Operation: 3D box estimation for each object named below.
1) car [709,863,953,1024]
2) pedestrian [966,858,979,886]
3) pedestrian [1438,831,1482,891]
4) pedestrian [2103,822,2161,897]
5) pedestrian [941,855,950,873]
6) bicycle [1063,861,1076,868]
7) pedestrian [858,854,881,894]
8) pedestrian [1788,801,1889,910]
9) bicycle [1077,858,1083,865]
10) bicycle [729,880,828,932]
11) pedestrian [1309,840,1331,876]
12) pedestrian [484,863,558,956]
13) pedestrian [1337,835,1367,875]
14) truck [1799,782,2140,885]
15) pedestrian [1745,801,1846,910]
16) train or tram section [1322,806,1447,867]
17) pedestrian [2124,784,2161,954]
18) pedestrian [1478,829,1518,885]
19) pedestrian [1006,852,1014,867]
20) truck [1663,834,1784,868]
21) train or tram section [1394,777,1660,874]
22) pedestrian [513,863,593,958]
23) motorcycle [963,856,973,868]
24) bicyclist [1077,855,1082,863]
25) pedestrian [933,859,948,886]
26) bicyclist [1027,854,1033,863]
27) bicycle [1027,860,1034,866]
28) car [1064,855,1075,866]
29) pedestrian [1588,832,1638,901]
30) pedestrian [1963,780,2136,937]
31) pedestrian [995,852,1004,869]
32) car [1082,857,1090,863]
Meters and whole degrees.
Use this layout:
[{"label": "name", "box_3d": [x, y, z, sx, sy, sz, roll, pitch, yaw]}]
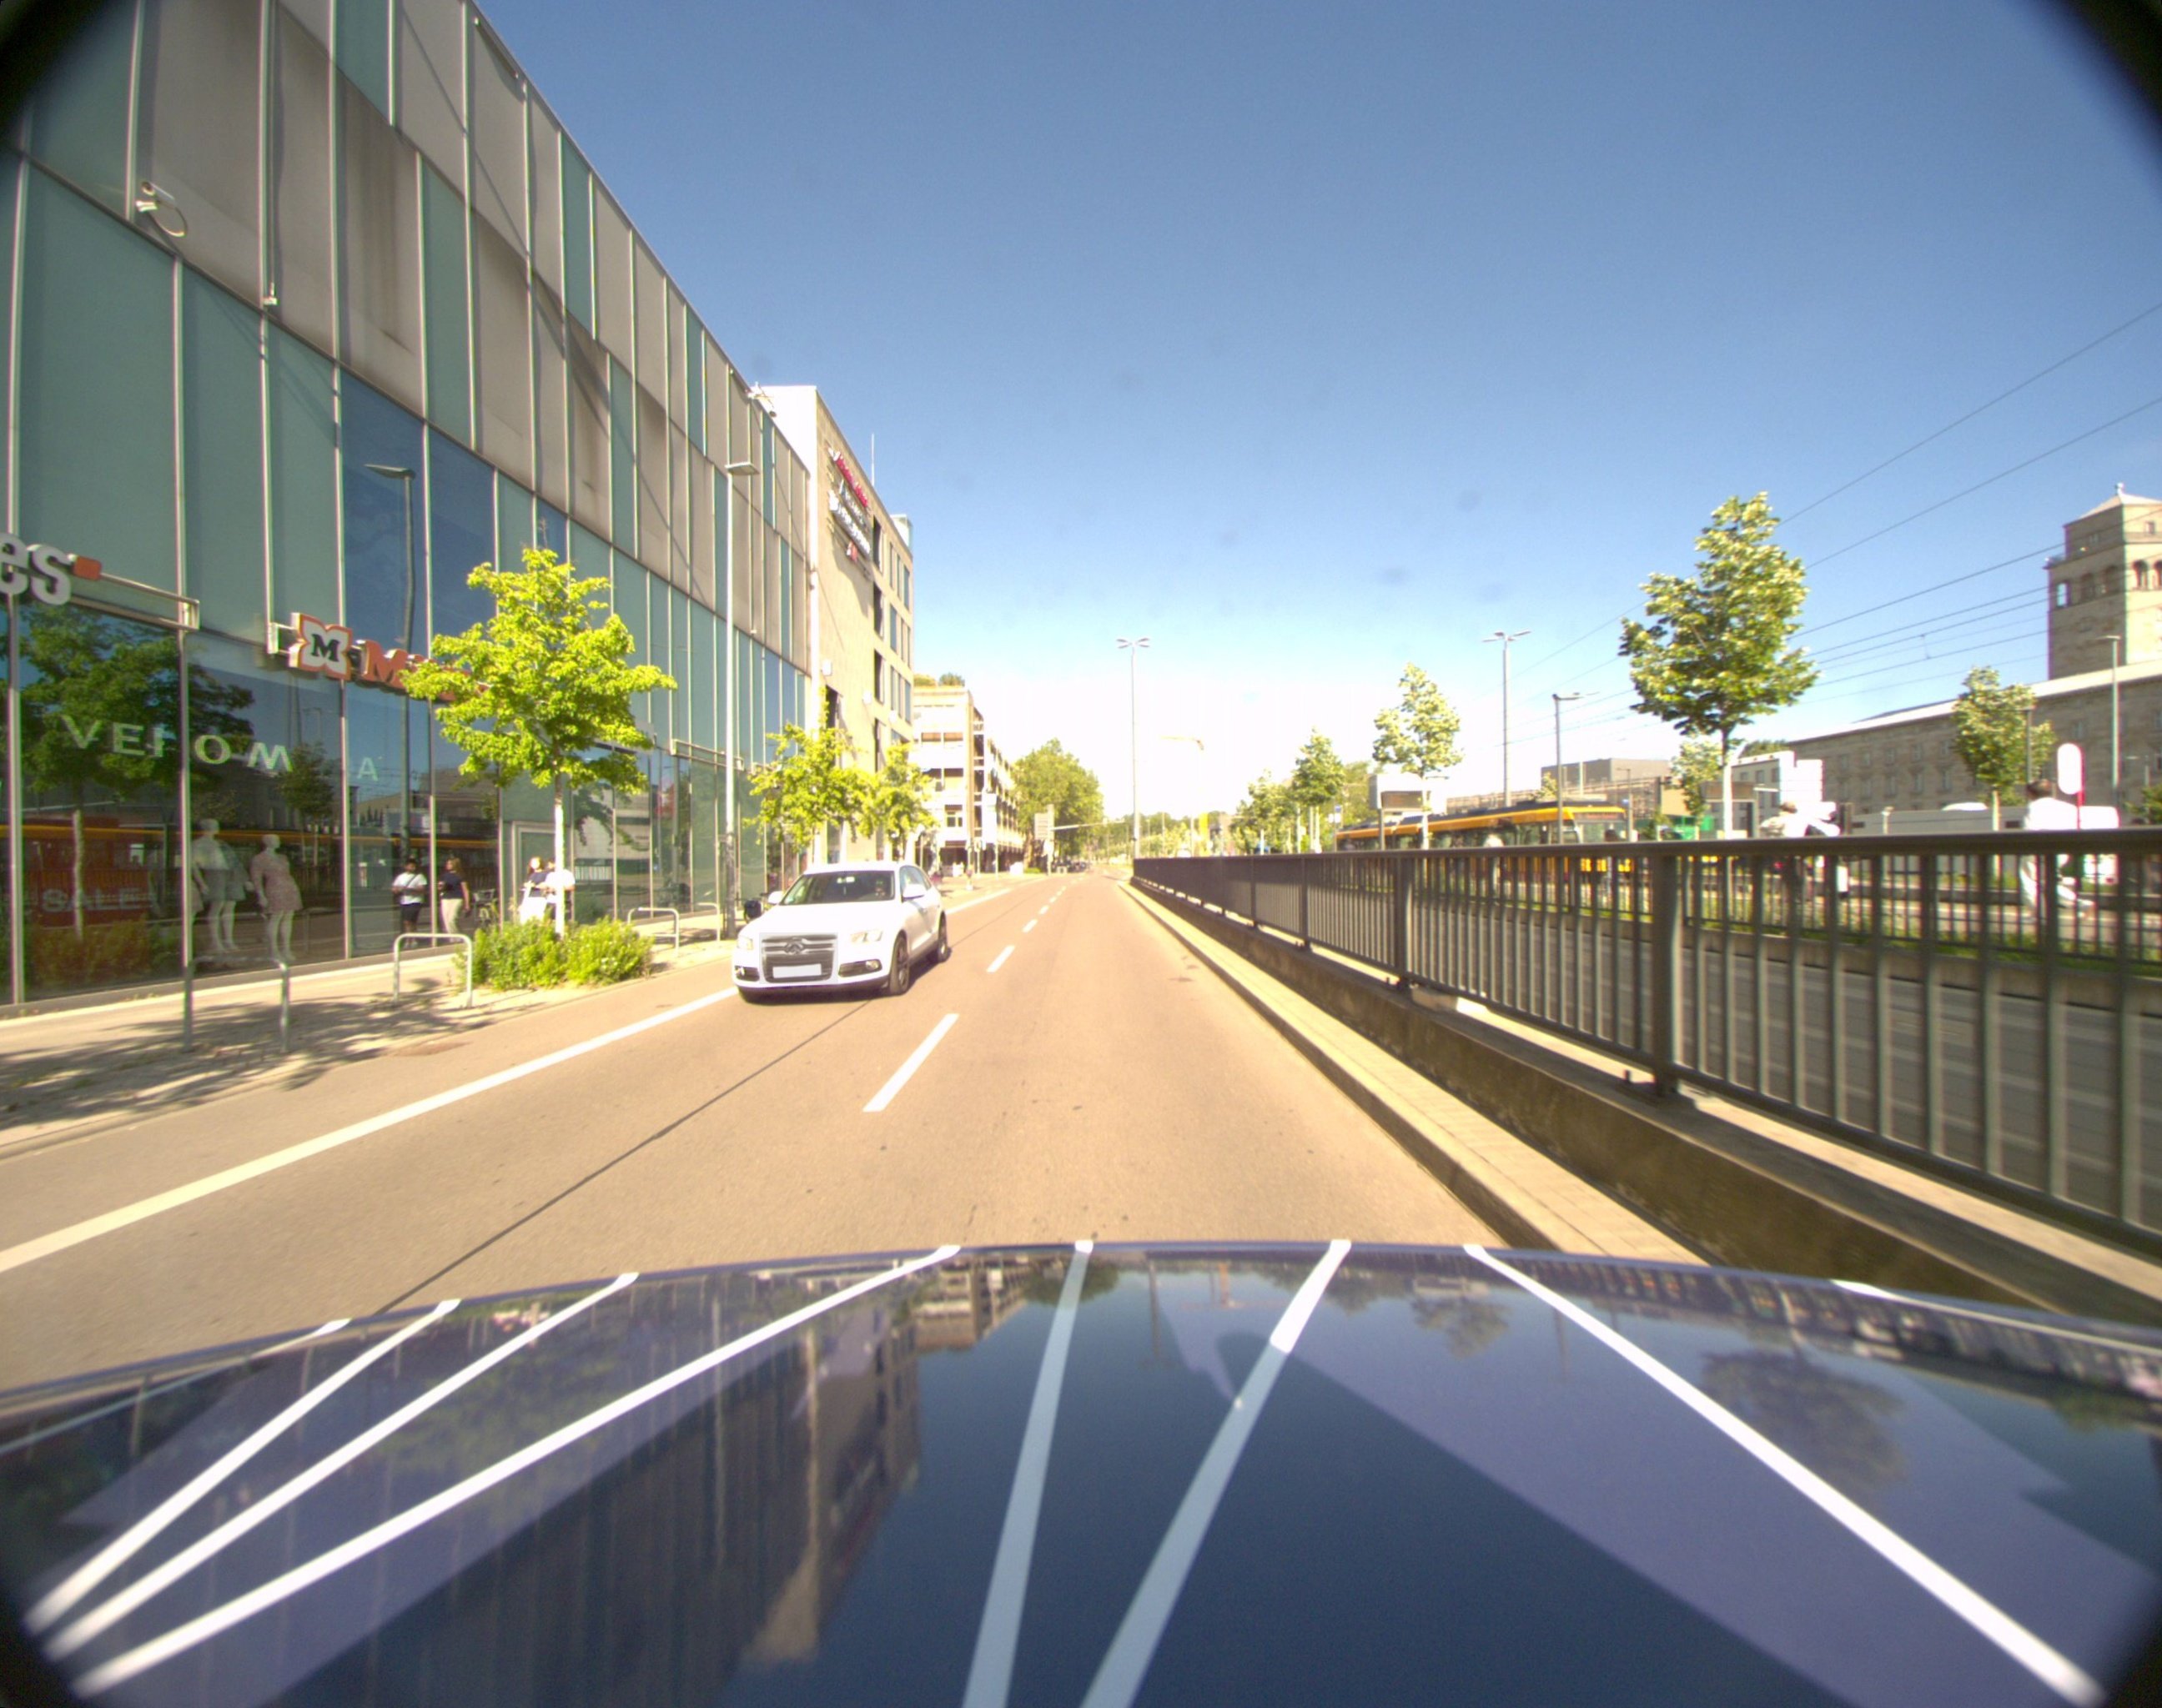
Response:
[{"label": "car", "box_3d": [-3.056, 0.993, 10.375, 1.824, 1.604, 4.412, -2, 0, 0]}, {"label": "pedestrian", "box_3d": [-6.675, 1.086, 46.778, 0.658, 1.692, 0.698, 2, 0, -1]}, {"label": "pedestrian", "box_3d": [11.742, 0.221, 23.563, 0.793, 1.764, 0.979, -2, 0, -2]}, {"label": "pedestrian", "box_3d": [22.882, 0.115, 16.514, 0.532, 1.583, 0.591, -1, 1, -1]}, {"label": "pedestrian", "box_3d": [-11.970, 0.876, 67.148, 0.662, 1.603, 0.526, 1, 1, -8]}, {"label": "bicycle", "box_3d": [-1.744, 1.577, 112.744, 1.848, 0.954, 0.711, 1, 0, -3]}, {"label": "pedestrian", "box_3d": [-9.669, 0.881, 34.794, 0.729, 1.791, 1.066, 1, 0, 1]}, {"label": "pedestrian", "box_3d": [13.050, 0.020, 13.132, 0.673, 1.800, 1.075, -1, 1, 0]}, {"label": "bicycle", "box_3d": [-0.207, 1.226, 120.041, 0.845, 1.123, 2.553, -1, 0, 2]}, {"label": "bicycle", "box_3d": [-7.479, 1.267, 18.830, 2.089, 1.198, 0.951, 0, 1, 7]}, {"label": "pedestrian", "box_3d": [11.964, 0.187, 38.064, 0.705, 1.764, 0.959, -2, 0, -2]}, {"label": "pedestrian", "box_3d": [-10.387, 1.009, 14.128, 0.708, 1.648, 0.900, 1, 0, -3]}, {"label": "pedestrian", "box_3d": [12.487, 0.060, 35.074, 0.876, 1.764, 1.189, -2, 0, -2]}, {"label": "truck", "box_3d": [30.440, -0.622, 26.795, 2.725, 2.952, 7.953, -3, 0, 1]}, {"label": "pedestrian", "box_3d": [12.301, 0.022, 13.110, 0.771, 1.800, 1.031, -1, 1, 0]}, {"label": "train or tram section", "box_3d": [19.093, -0.950, 49.100, 2.877, 3.290, 13.073, -3, 0, 1]}, {"label": "pedestrian", "box_3d": [10.674, 0.140, 7.071, 0.743, 1.619, 0.861, -1, 1, 2]}, {"label": "pedestrian", "box_3d": [13.395, 0.102, 24.433, 0.763, 1.764, 0.826, -2, 0, -2]}, {"label": "pedestrian", "box_3d": [-9.182, 0.709, 98.305, 0.949, 2.002, 1.079, -1, 0, -6]}, {"label": "truck", "box_3d": [55.947, -0.259, 66.299, 8.023, 2.776, 2.464, -1, 0, 6]}, {"label": "train or tram section", "box_3d": [18.906, -0.999, 34.591, 2.855, 3.302, 15.966, -2, 0, 1]}, {"label": "pedestrian", "box_3d": [-9.584, 1.001, 13.820, 0.823, 1.648, 0.900, 1, 0, -3]}, {"label": "motorcycle", "box_3d": [-14.094, 1.010, 94.633, 0.825, 1.433, 2.122, -1, 0, 2]}, {"label": "bicyclist", "box_3d": [-0.206, 0.781, 120.043, 0.830, 1.380, 0.904, -1, 0, 2]}, {"label": "pedestrian", "box_3d": [-8.414, 1.083, 45.596, 0.725, 1.598, 0.750, 0, 0, 2]}, {"label": "bicyclist", "box_3d": [-8.314, 0.739, 125.021, 0.883, 1.468, 0.883, -1, 0, 1]}, {"label": "bicycle", "box_3d": [-8.306, 1.510, 125.156, 0.883, 0.979, 2.051, -1, 0, 1]}, {"label": "car", "box_3d": [-2.059, 1.147, 133.354, 1.752, 1.810, 4.337, 1, 0, 1]}, {"label": "pedestrian", "box_3d": [11.938, 0.280, 17.070, 0.649, 1.503, 0.588, -2, 0, -2]}, {"label": "pedestrian", "box_3d": [12.079, 0.055, 9.523, 0.889, 1.840, 1.007, -1, 1, 1]}, {"label": "pedestrian", "box_3d": [-9.497, 0.735, 88.685, 0.950, 2.002, 1.078, -1, 0, -10]}, {"label": "car", "box_3d": [1.425, 1.568, 207.748, 1.999, 1.597, 3.896, -1, 0, 0]}]
